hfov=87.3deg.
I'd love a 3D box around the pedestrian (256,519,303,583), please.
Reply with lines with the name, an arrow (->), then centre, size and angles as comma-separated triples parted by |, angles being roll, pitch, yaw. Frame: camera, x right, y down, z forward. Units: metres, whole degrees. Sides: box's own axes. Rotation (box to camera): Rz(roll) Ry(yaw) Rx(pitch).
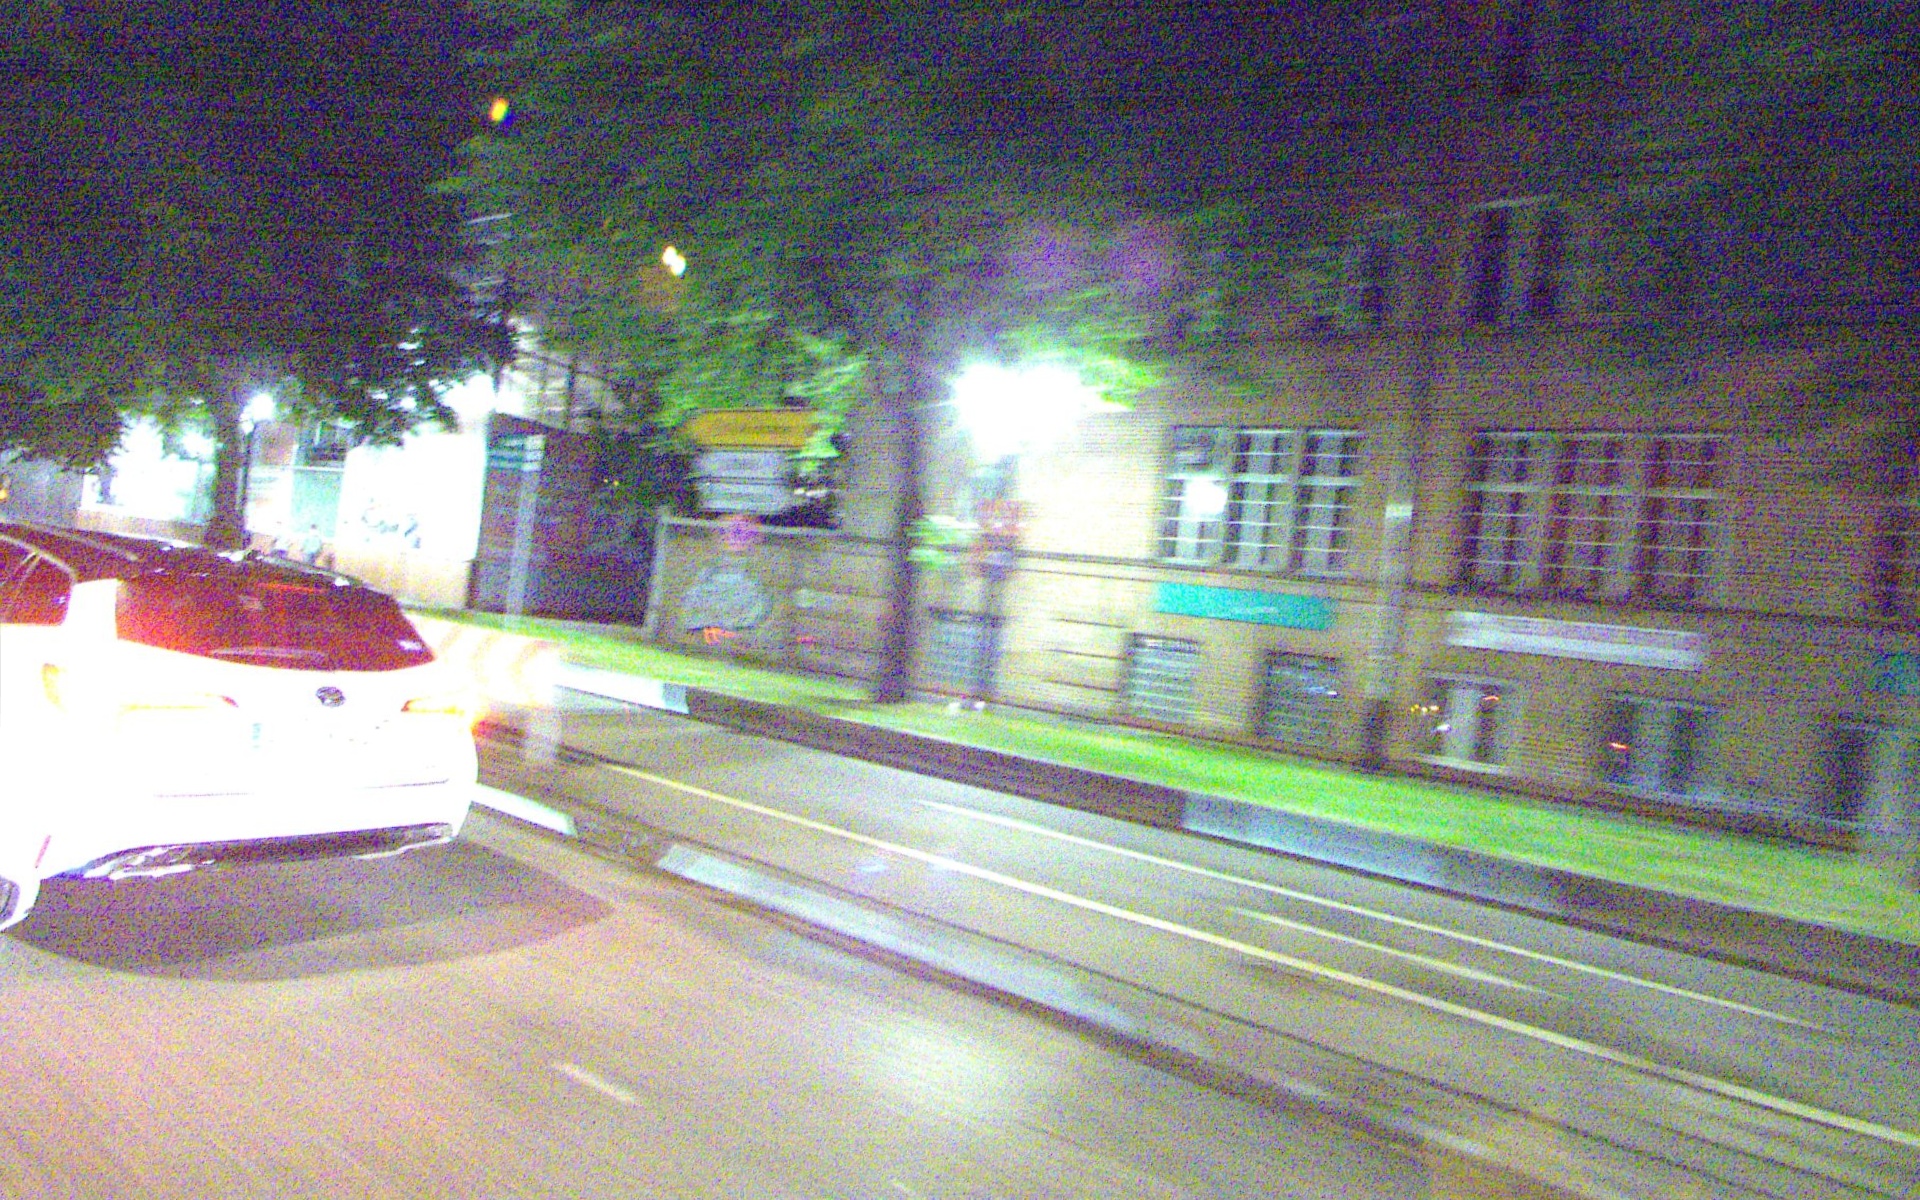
pedestrian -> -20.805, -1.497, 30.749 | 0.892, 1.791, 0.739 | 7, 1, 32

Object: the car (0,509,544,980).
car -> -4.214, 0.365, 4.987 | 4.140, 1.451, 1.733 | 7, -3, 31

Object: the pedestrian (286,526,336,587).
pedestrian -> -20.477, -1.371, 31.757 | 0.892, 1.791, 0.902 | 7, 1, 32

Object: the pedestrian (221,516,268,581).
pedestrian -> -21.267, -1.527, 29.912 | 0.892, 1.791, 0.715 | 7, 1, 32

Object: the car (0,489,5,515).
car -> -57.756, -5.966, 58.963 | 3.767, 1.506, 1.575 | 7, 0, 32
